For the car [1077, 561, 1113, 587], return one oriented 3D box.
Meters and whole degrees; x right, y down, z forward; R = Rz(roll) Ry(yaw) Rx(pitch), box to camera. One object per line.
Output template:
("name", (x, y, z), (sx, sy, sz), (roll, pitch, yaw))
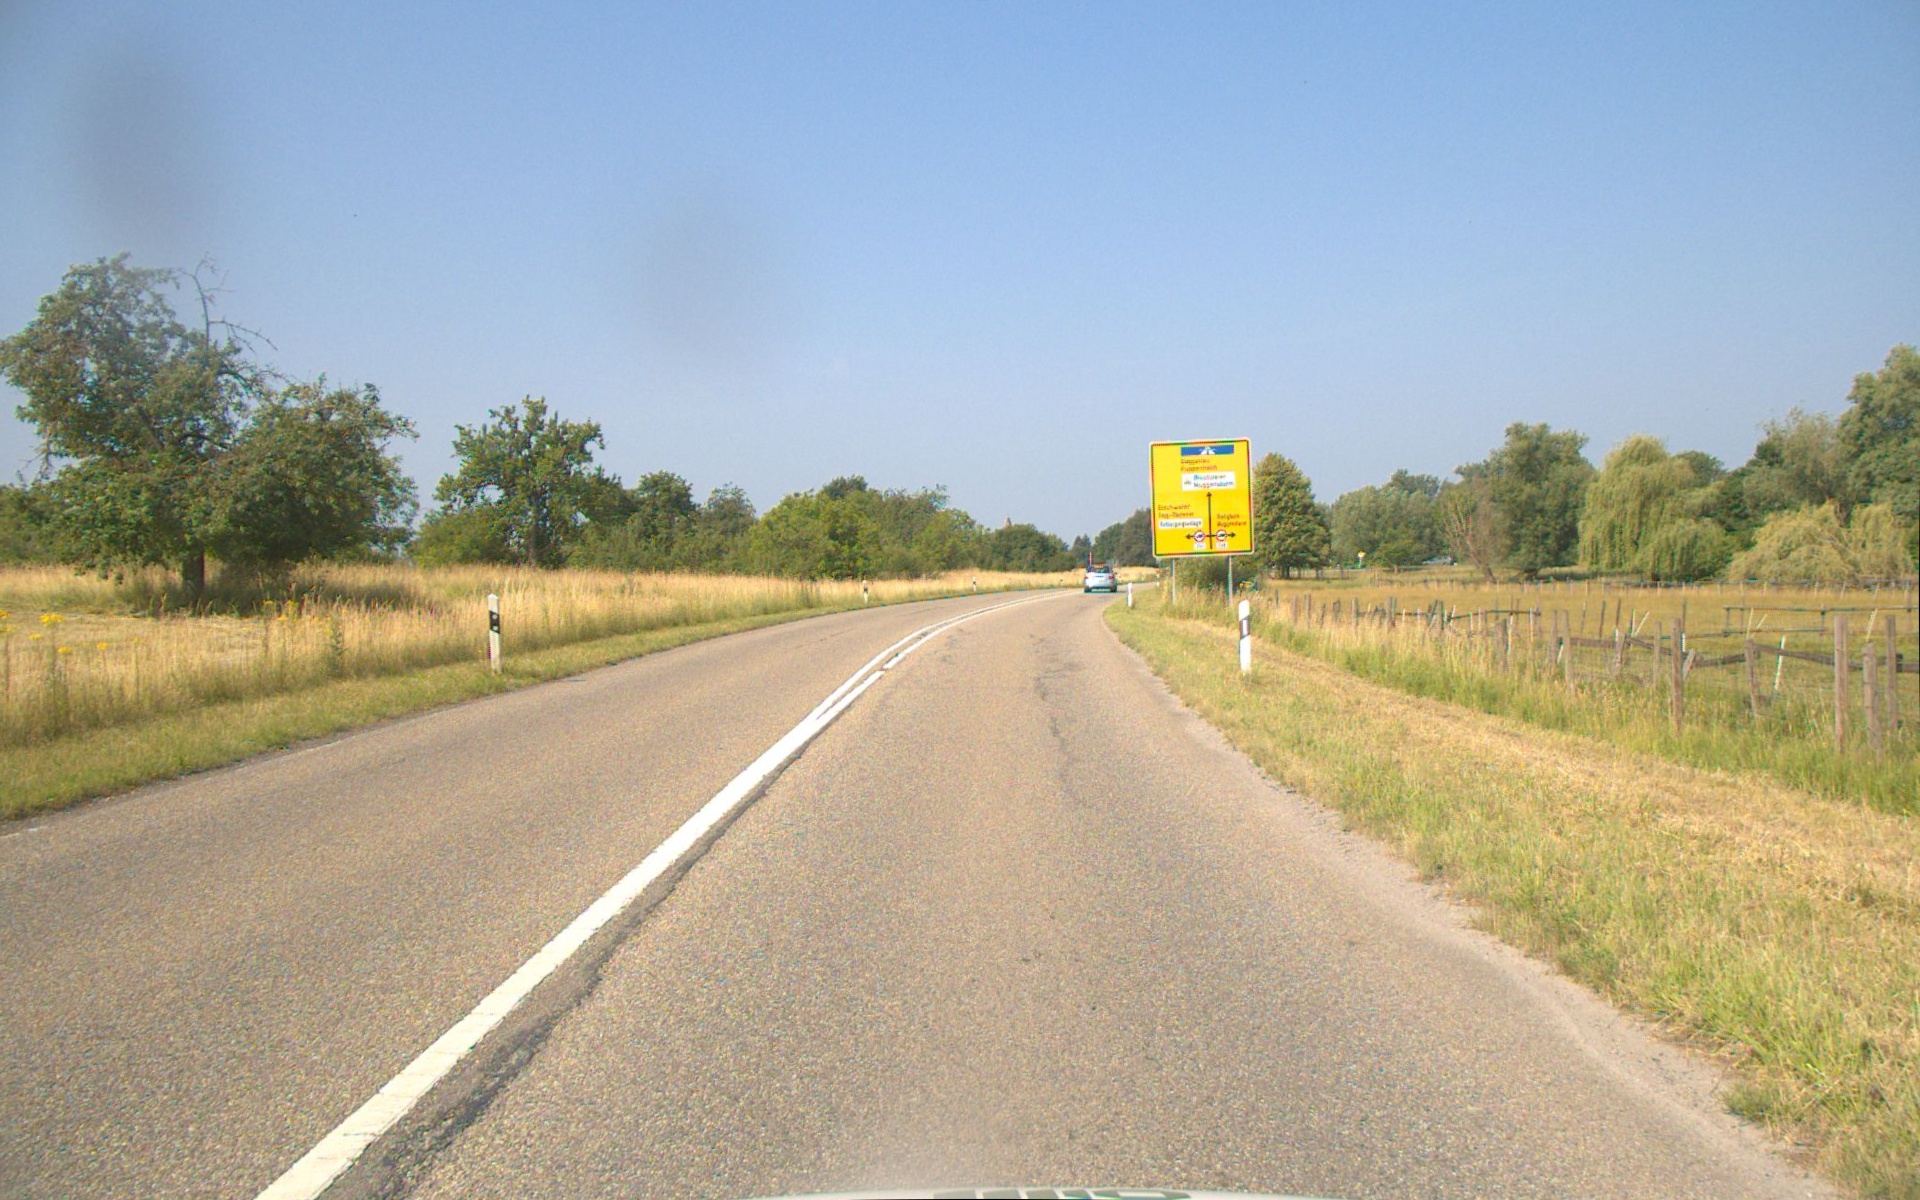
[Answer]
("car", (8.111, -1.564, 99.152), (1.858, 1.538, 4.004), (0, 1, 8))
